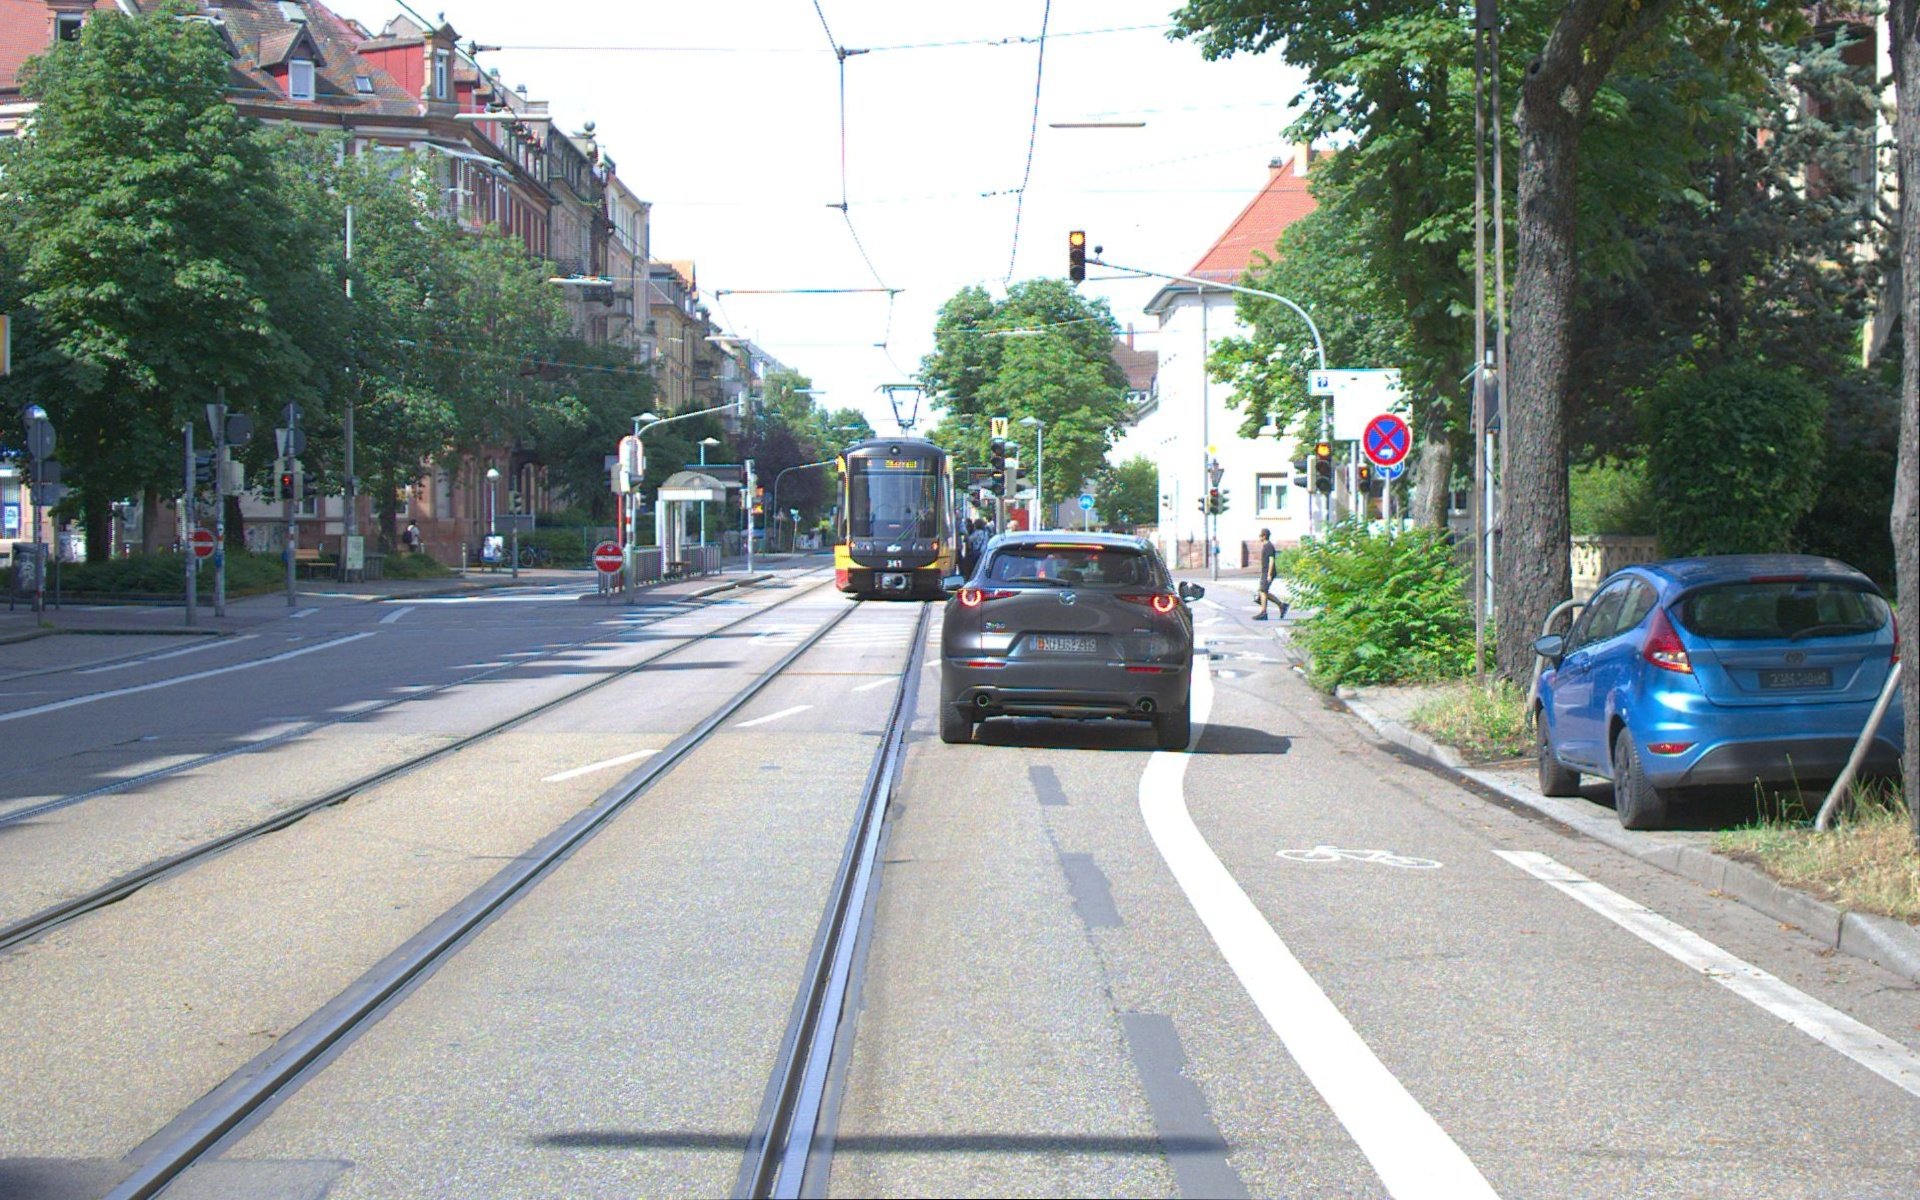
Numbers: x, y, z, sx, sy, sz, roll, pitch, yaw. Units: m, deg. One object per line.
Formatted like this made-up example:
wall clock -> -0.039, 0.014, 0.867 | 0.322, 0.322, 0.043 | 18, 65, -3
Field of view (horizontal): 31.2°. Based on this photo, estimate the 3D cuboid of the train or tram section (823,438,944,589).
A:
train or tram section -> -1.980, -2.103, 85.383 | 2.651, 3.515, 8.498 | -1, 1, -3

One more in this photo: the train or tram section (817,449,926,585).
train or tram section -> -2.470, -2.225, 93.878 | 2.651, 3.515, 8.498 | -1, 1, -3

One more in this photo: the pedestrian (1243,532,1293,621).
pedestrian -> 5.584, -0.435, 62.280 | 0.875, 1.599, 0.632 | 0, 1, 3

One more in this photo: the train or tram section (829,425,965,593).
train or tram section -> -1.484, -1.985, 76.886 | 2.651, 3.515, 8.498 | -1, 1, -3

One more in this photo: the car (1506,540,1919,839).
car -> 4.306, 0.435, 19.870 | 1.624, 1.491, 3.848 | -2, 1, 0

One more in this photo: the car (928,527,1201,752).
car -> 0.700, 0.228, 25.779 | 1.789, 1.507, 4.351 | 1, 1, -1

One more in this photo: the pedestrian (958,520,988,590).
pedestrian -> 0.293, -1.045, 78.942 | 0.667, 1.599, 0.700 | 0, 1, -2

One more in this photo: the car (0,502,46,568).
car -> -31.491, -1.985, 109.313 | 4.121, 2.007, 1.999 | -3, 1, 10

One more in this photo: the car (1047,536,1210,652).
car -> 2.291, -0.127, 47.838 | 1.784, 1.487, 4.884 | 0, 1, -3
